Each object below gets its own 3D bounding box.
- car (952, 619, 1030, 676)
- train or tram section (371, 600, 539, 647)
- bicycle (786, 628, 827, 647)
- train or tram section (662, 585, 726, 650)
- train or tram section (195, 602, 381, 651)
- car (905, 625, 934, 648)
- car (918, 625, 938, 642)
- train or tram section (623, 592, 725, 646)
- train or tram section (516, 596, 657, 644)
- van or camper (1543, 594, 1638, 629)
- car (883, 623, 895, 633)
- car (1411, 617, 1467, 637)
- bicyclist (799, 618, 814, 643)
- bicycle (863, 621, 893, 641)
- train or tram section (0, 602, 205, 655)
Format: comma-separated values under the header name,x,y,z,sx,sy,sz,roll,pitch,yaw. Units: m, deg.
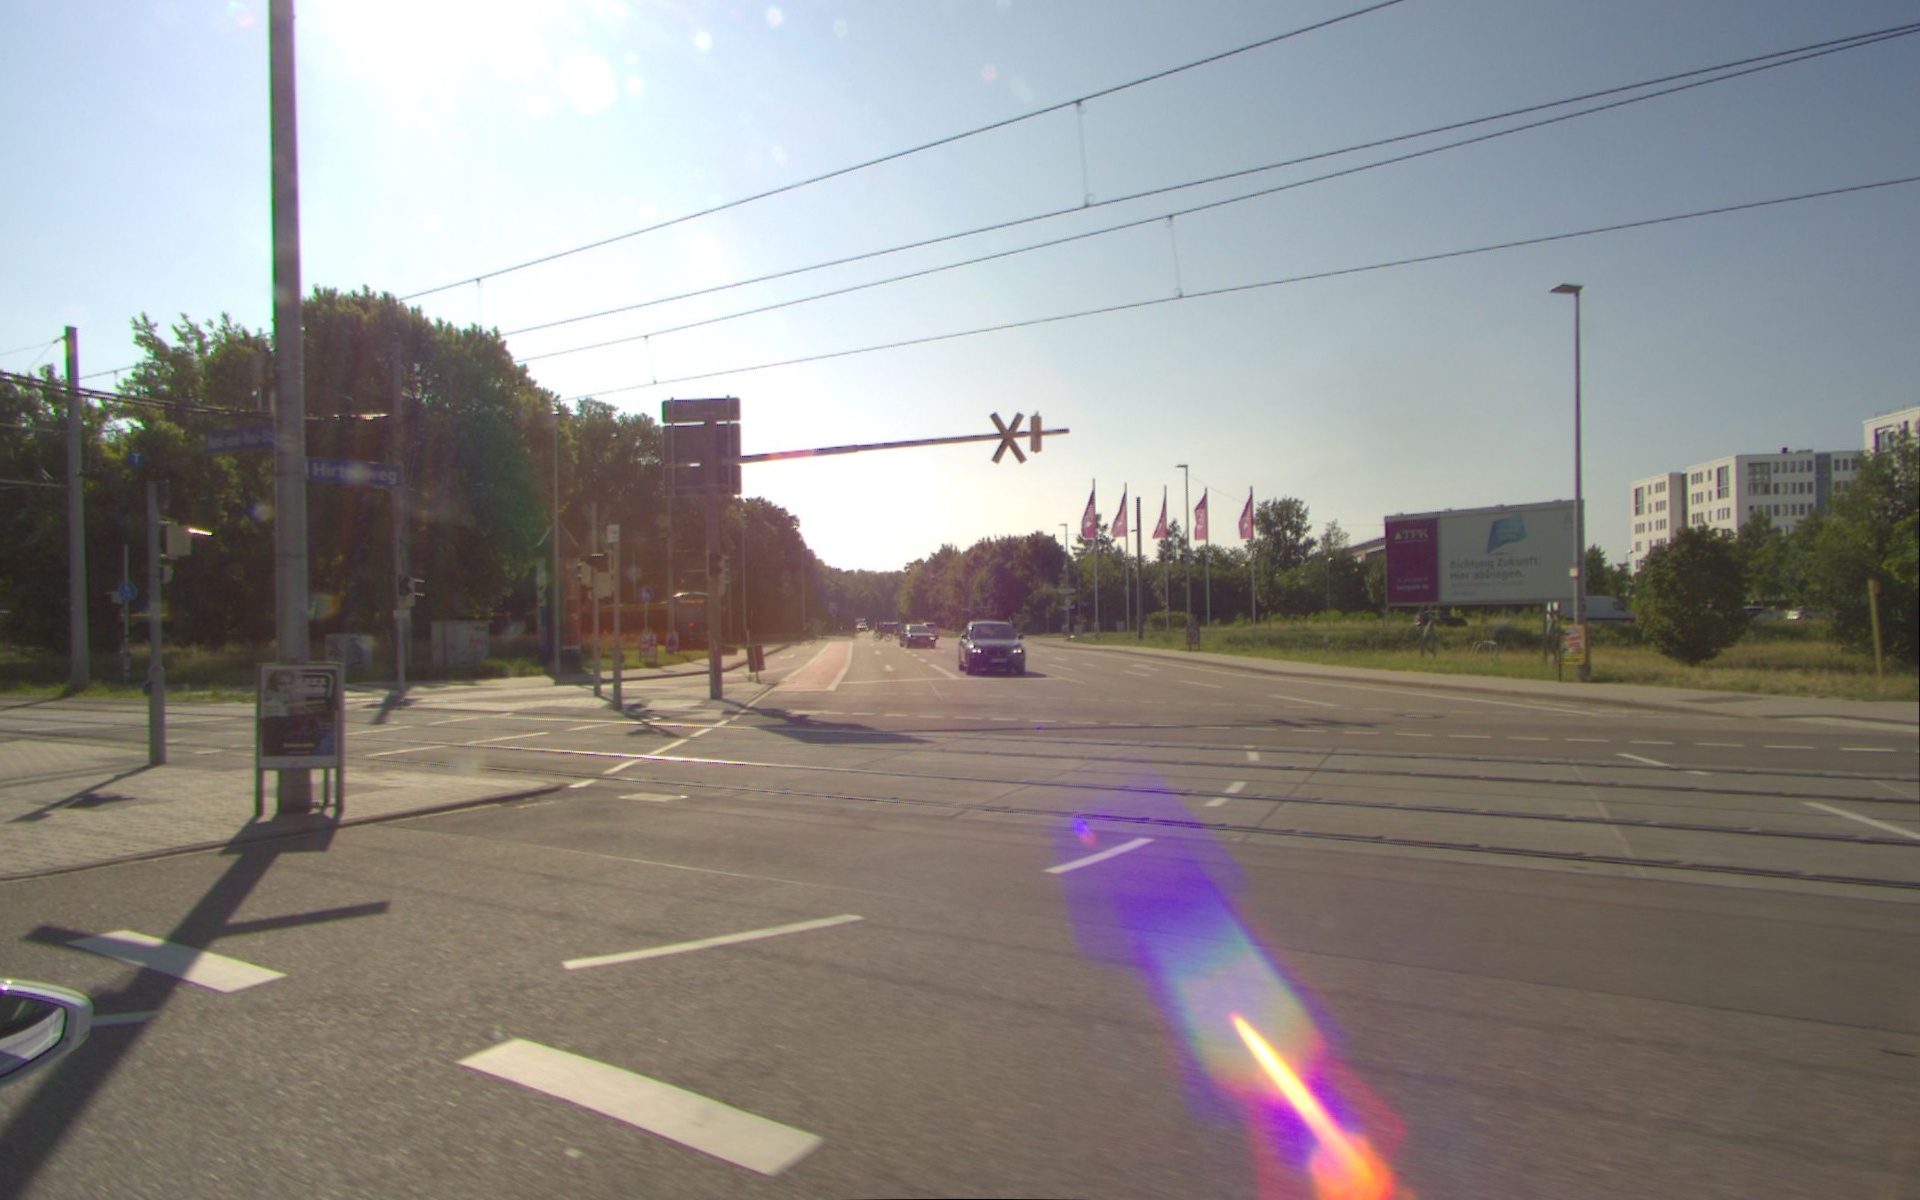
name,x,y,z,sx,sy,sz,roll,pitch,yaw
car,0.902,1.439,31.823,2.005,1.583,4.861,-1,0,-4
train or tram section,-41.603,1.944,82.876,11.999,3.626,3.052,-1,-1,-10
bicycle,-12.792,3.136,83.609,3.166,1.472,1.131,-1,-1,1
train or tram section,-16.243,1.112,61.877,2.997,3.626,11.844,-1,-1,-11
train or tram section,-52.951,2.033,79.506,12.055,3.626,3.038,0,-1,-31
car,-2.590,2.284,62.899,1.716,1.352,4.307,-1,-1,-4
car,-3.203,3.274,98.492,1.820,1.583,4.204,-1,-1,-4
train or tram section,-21.116,1.454,73.282,3.017,3.626,12.142,0,-1,-37
train or tram section,-30.229,1.683,80.808,12.032,3.626,3.044,-1,-1,25
van or camper,54.164,1.039,86.079,6.611,2.814,2.240,-1,-1,4
car,-10.296,4.015,144.925,1.575,1.401,3.530,0,-1,-6
car,41.456,2.331,86.745,3.922,1.617,2.000,-1,-1,0
bicyclist,-12.811,2.544,83.617,1.077,2.039,1.141,-1,-1,1
bicycle,-7.057,2.661,86.362,2.572,1.735,0.792,-1,-1,28
train or tram section,-62.889,2.021,73.107,12.281,3.626,3.034,0,-1,-35
